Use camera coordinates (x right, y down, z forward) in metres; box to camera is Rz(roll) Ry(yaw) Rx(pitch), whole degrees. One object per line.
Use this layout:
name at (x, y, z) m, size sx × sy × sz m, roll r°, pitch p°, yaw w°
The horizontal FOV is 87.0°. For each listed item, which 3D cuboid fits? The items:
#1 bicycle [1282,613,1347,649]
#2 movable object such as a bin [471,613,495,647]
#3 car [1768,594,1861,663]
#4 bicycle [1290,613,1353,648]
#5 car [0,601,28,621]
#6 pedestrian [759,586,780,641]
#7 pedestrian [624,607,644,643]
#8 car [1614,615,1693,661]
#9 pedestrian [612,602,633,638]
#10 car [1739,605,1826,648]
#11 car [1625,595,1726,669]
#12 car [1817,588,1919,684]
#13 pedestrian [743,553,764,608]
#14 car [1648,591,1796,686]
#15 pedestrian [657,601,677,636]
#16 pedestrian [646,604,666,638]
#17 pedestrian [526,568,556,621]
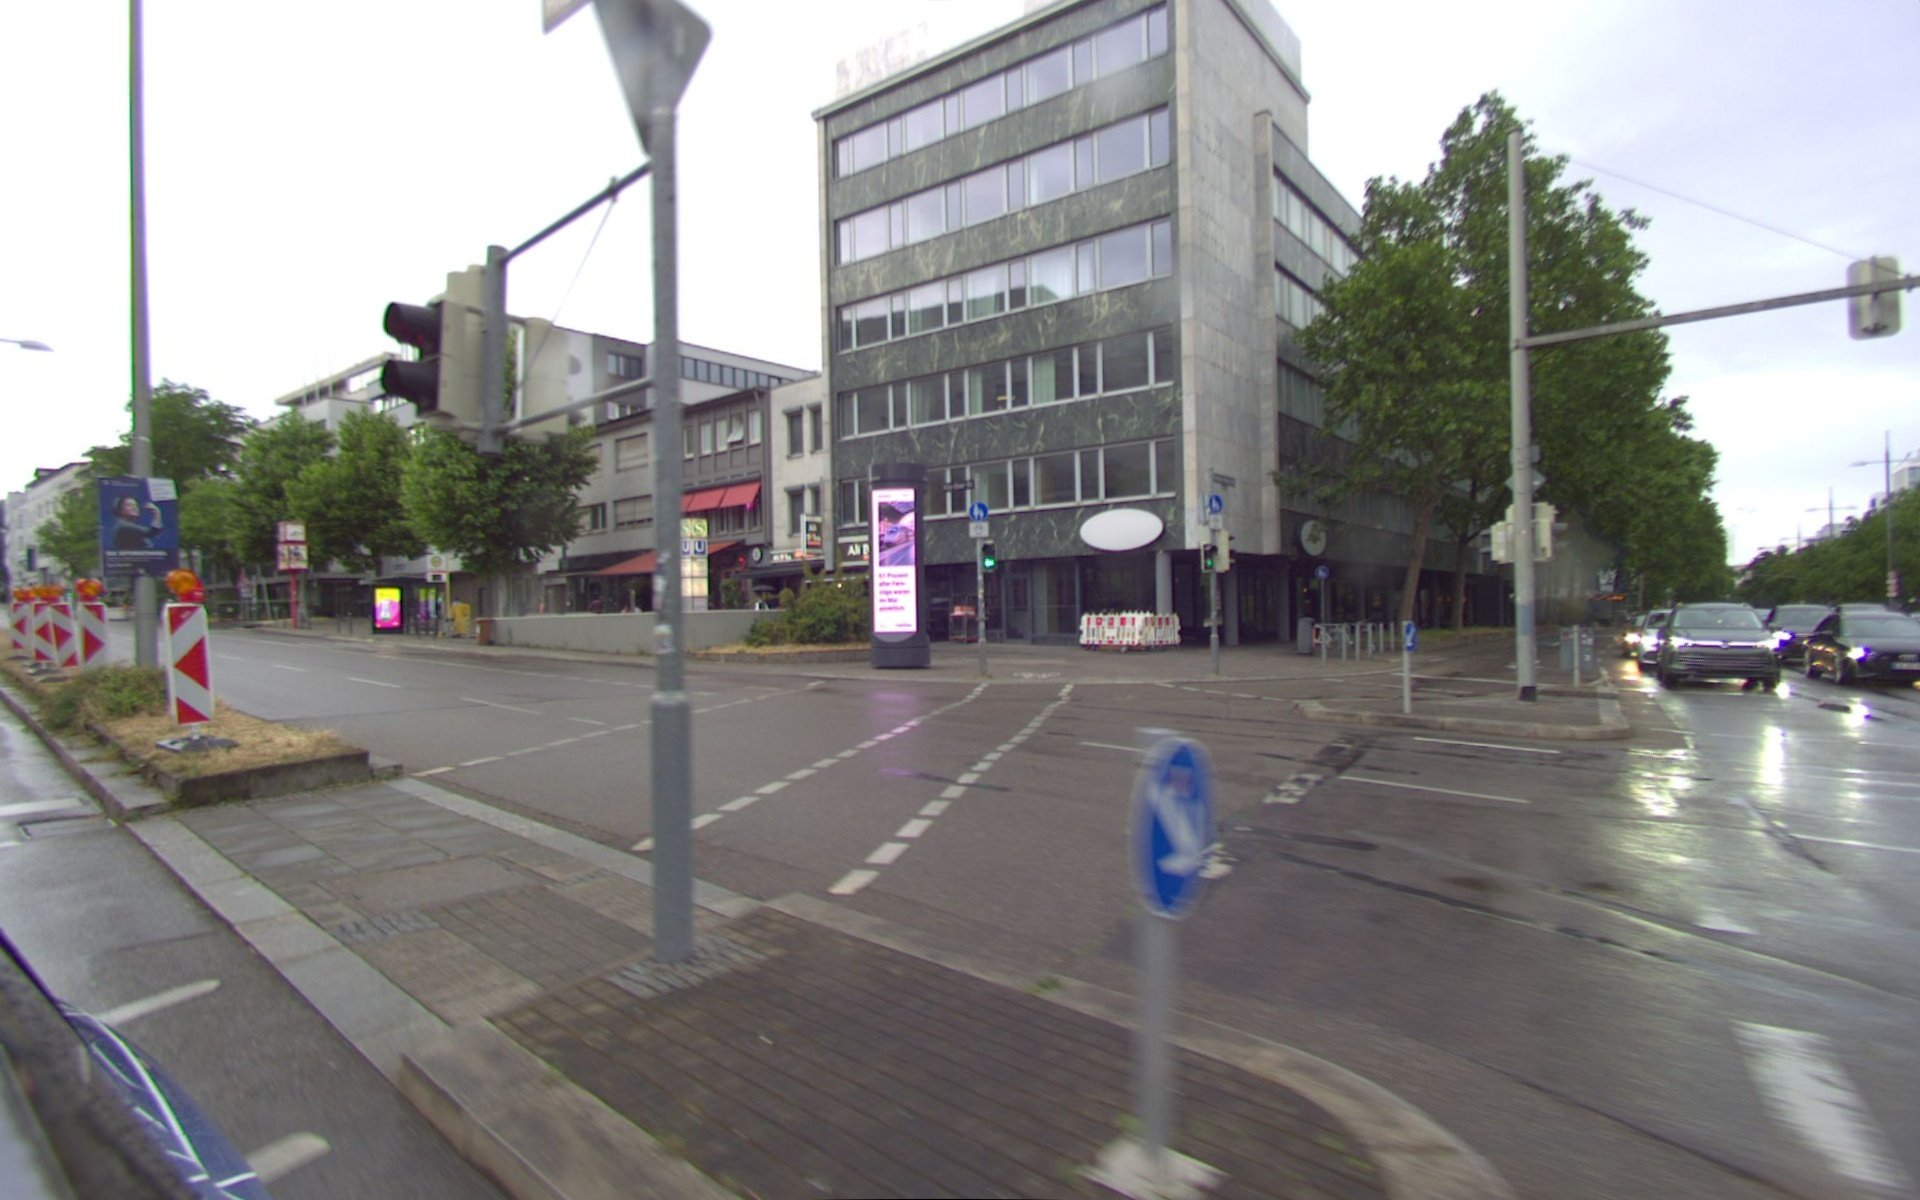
bicycle at (10.796, 0.919, 30.824) m, size 1.781 × 1.060 × 0.579 m, roll 0°, pitch -1°, yaw 39°
movable object such as a bin at (-16.005, 1.005, 33.958) m, size 0.660 × 1.109 × 0.500 m, roll 0°, pitch 0°, yaw 41°
car at (23.860, 0.745, 28.302) m, size 1.860 × 1.781 × 4.120 m, roll 0°, pitch -1°, yaw 40°
bicycle at (11.310, 0.930, 31.684) m, size 1.781 × 1.060 × 0.579 m, roll 0°, pitch -1°, yaw 39°
car at (-100.127, 1.118, 106.774) m, size 4.960 × 1.942 × 1.974 m, roll 2°, pitch 1°, yaw 39°
pedestrian at (-7.188, 0.506, 38.178) m, size 0.588 × 2.029 × 0.730 m, roll 0°, pitch -1°, yaw -27°
pedestrian at (-14.194, 1.069, 44.061) m, size 0.660 × 1.540 × 0.611 m, roll 1°, pitch -1°, yaw -44°
car at (22.475, 1.179, 32.801) m, size 1.996 × 1.381 × 4.126 m, roll 0°, pitch -1°, yaw 35°
pedestrian at (-14.900, 0.878, 44.676) m, size 0.660 × 1.540 × 0.611 m, roll 1°, pitch -1°, yaw -44°
car at (27.623, 0.849, 34.108) m, size 1.996 × 1.381 × 4.126 m, roll 0°, pitch -1°, yaw 35°
car at (18.634, 0.787, 26.445) m, size 1.995 × 1.763 × 3.953 m, roll 0°, pitch -1°, yaw 35°
car at (18.815, 0.677, 20.430) m, size 1.996 × 1.763 × 3.951 m, roll 0°, pitch -1°, yaw 36°
pedestrian at (-7.735, -0.708, 37.896) m, size 0.588 × 2.029 × 0.730 m, roll 0°, pitch -1°, yaw -27°
car at (15.360, 0.710, 20.633) m, size 1.993 × 1.699 × 4.319 m, roll 0°, pitch -1°, yaw 32°
pedestrian at (-13.160, 0.817, 45.401) m, size 0.660 × 1.540 × 0.611 m, roll 1°, pitch -1°, yaw -44°
pedestrian at (-13.788, 0.940, 45.863) m, size 0.659 × 1.540 × 0.611 m, roll 1°, pitch -1°, yaw -43°
pedestrian at (-14.775, -0.204, 35.704) m, size 0.786 × 1.837 × 0.607 m, roll 0°, pitch 0°, yaw 18°
